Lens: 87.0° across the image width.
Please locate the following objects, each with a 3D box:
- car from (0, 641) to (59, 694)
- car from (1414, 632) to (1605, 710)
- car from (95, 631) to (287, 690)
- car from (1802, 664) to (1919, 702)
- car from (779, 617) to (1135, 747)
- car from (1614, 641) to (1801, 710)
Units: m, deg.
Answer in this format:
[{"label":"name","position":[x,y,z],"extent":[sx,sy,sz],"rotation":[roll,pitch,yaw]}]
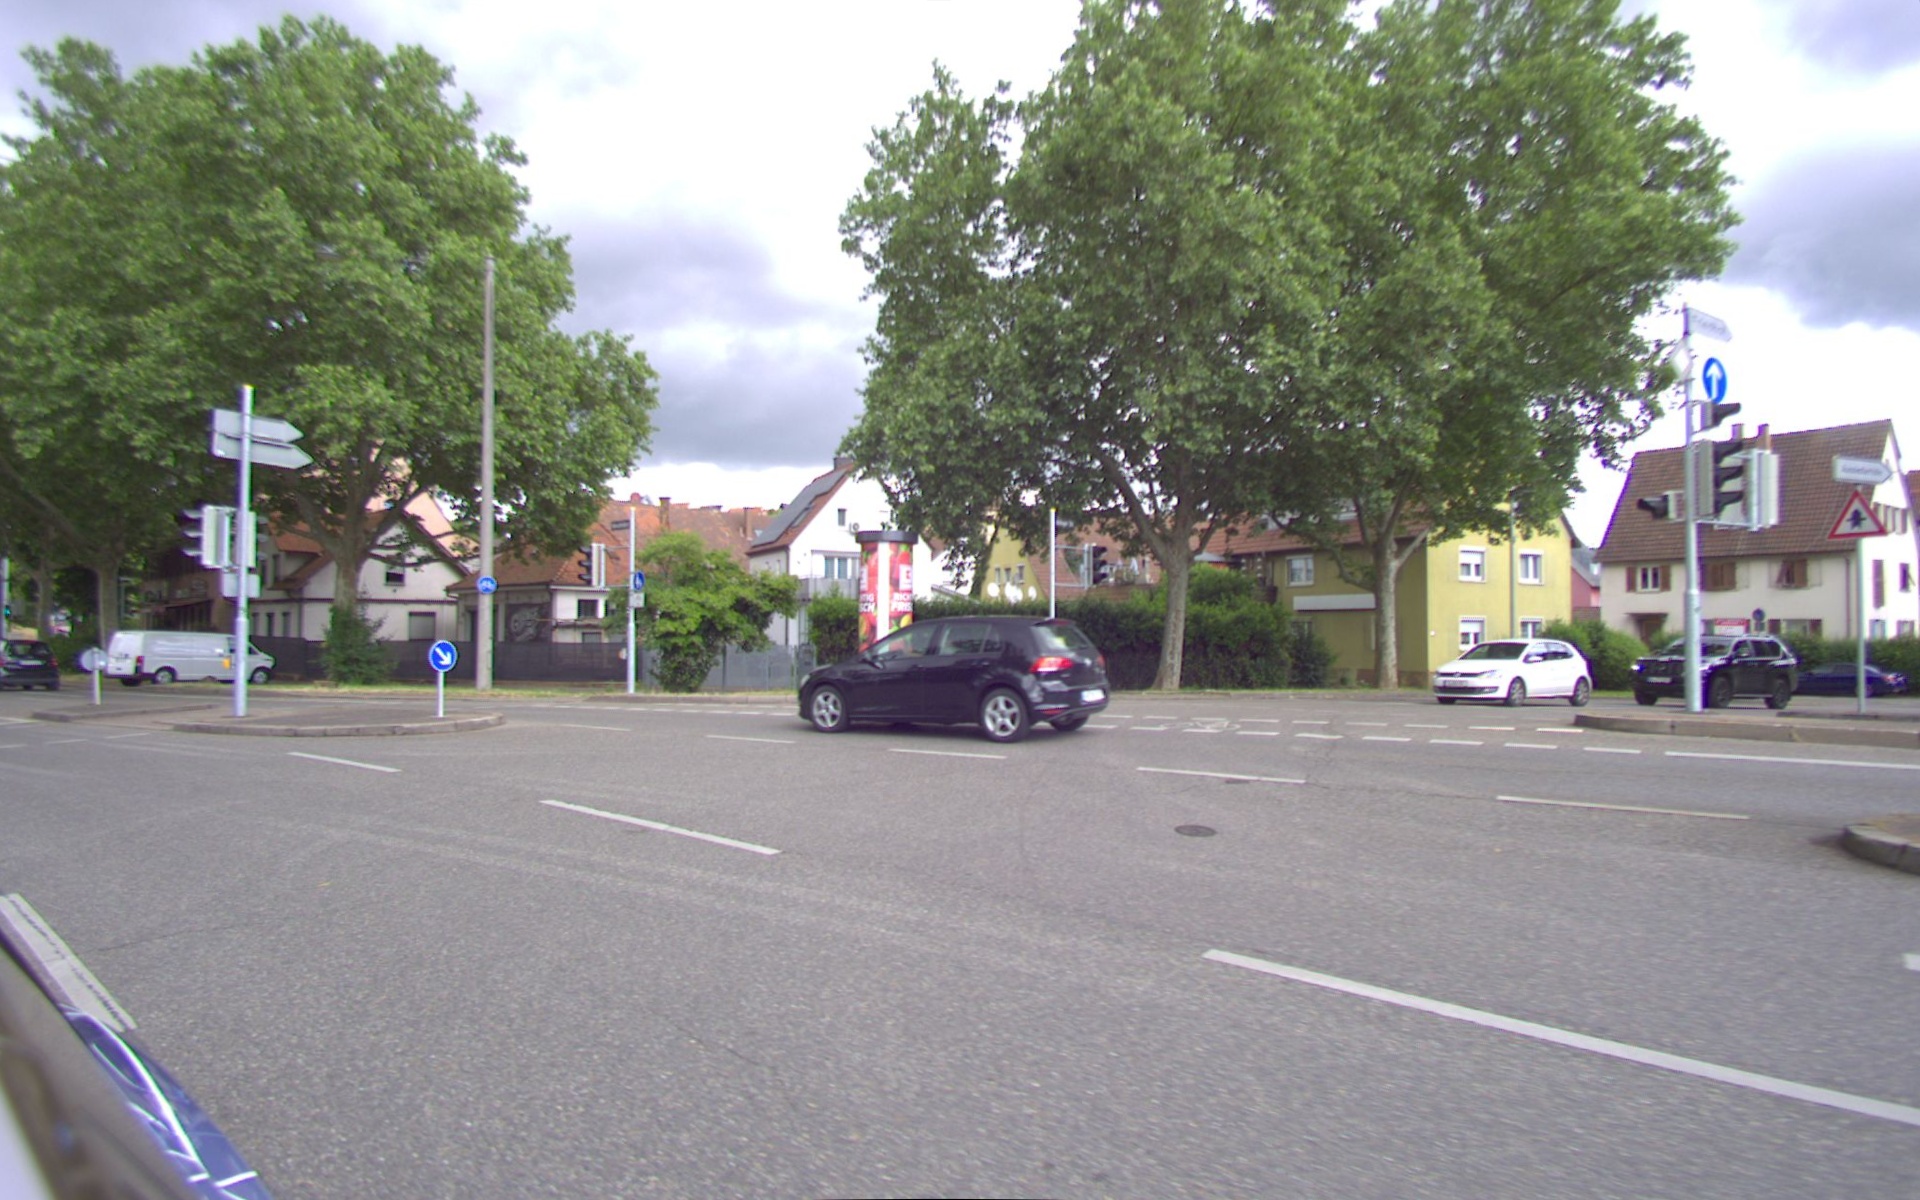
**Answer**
[{"label":"car","position":[-29.311,2.070,31.157],"extent":[3.180,1.539,1.555],"rotation":[-3,-3,34]},{"label":"car","position":[11.669,1.438,21.459],"extent":[3.789,1.491,1.831],"rotation":[1,-2,-30]},{"label":"car","position":[-27.505,2.201,36.483],"extent":[2.067,1.946,5.211],"rotation":[0,-4,18]},{"label":"car","position":[37.861,3.444,42.565],"extent":[1.521,1.420,3.451],"rotation":[1,-2,-31]},{"label":"car","position":[-0.143,0.923,12.644],"extent":[4.301,1.376,1.663],"rotation":[-2,-2,35]},{"label":"car","position":[18.470,1.837,25.005],"extent":[4.196,1.557,2.006],"rotation":[2,-2,-26]}]
